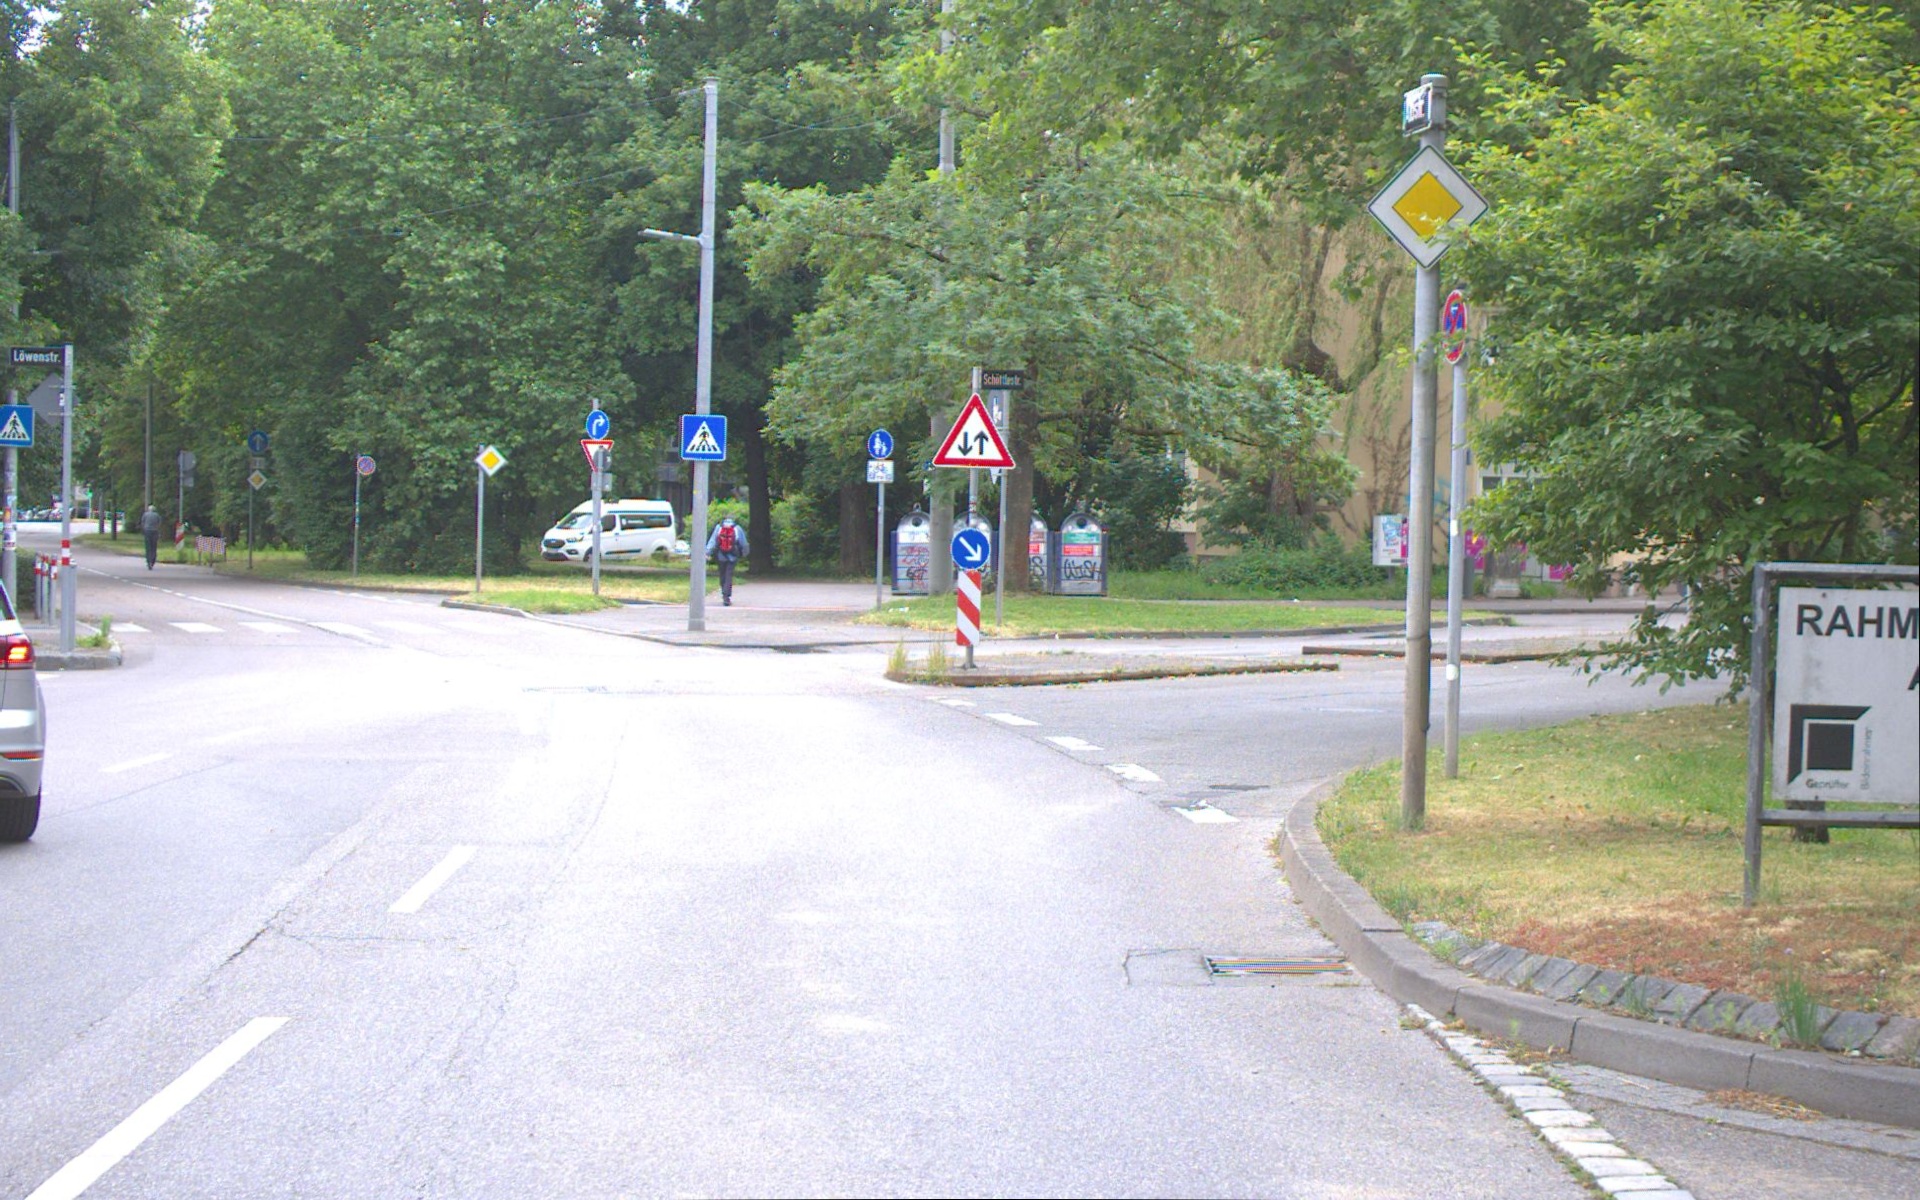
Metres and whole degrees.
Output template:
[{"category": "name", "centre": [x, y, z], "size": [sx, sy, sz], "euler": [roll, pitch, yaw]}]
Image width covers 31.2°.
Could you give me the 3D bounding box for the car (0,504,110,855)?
[{"category": "car", "centre": [-5.674, 0.291, 17.084], "size": [1.922, 1.568, 4.001], "euler": [1, 2, -27]}]

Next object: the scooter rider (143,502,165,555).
[{"category": "scooter rider", "centre": [-23.726, -2.110, 101.162], "size": [0.600, 1.547, 0.566], "euler": [0, 3, -15]}]

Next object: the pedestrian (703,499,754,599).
[{"category": "pedestrian", "centre": [-4.573, -1.013, 67.886], "size": [0.923, 1.865, 1.019], "euler": [-2, 4, -5]}]

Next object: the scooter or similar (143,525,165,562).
[{"category": "scooter or similar", "centre": [-23.686, -1.648, 101.025], "size": [0.600, 1.051, 0.873], "euler": [0, 3, -15]}]

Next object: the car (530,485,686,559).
[{"category": "car", "centre": [-12.249, -2.704, 119.950], "size": [2.135, 2.289, 5.373], "euler": [6, 2, 38]}]
